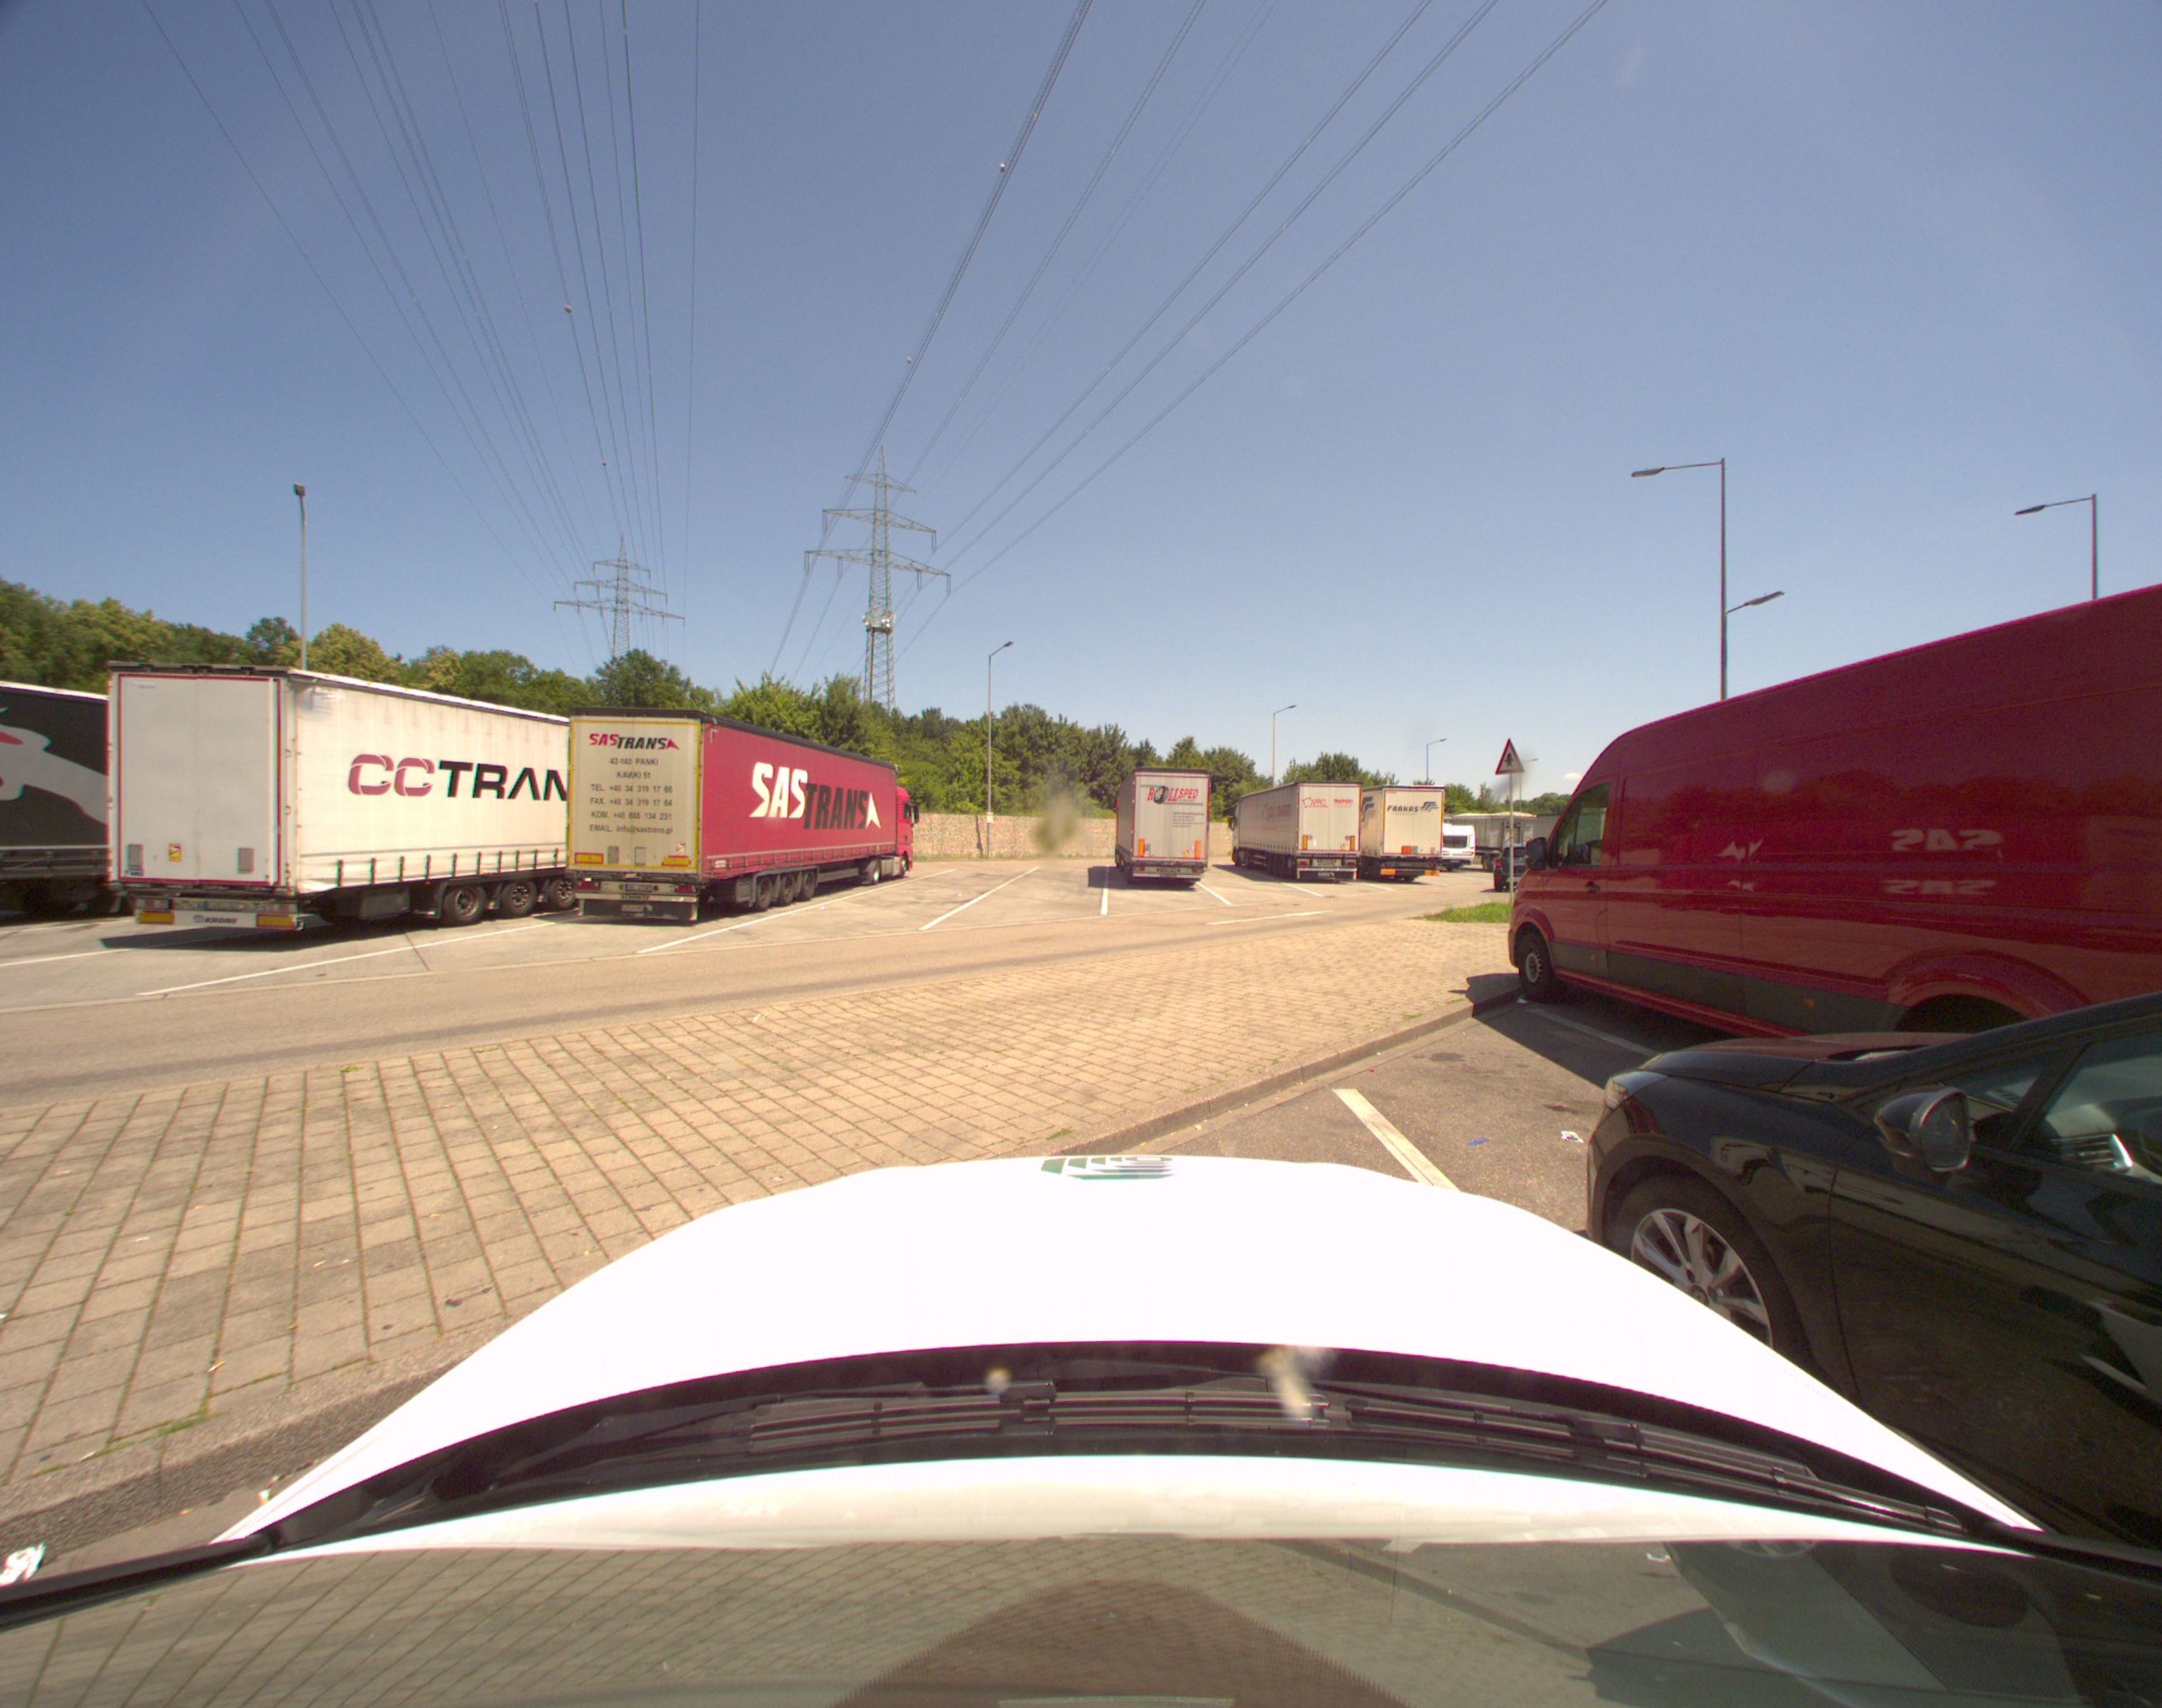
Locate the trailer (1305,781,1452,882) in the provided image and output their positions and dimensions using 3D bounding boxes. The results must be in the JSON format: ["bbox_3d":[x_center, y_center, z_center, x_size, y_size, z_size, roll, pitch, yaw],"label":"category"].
[{"bbox_3d":[13.646,-1.130,38.893,2.856,4.037,12.445,0,2,2],"label":"trailer"}]

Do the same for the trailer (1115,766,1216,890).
[{"bbox_3d":[3.051,-1.110,33.743,2.857,4.037,14.244,0,2,1],"label":"trailer"}]

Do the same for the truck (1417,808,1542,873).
[{"bbox_3d":[24.303,-0.966,50.518,2.478,3.568,11.429,0,2,2],"label":"truck"}]

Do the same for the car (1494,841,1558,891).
[{"bbox_3d":[15.467,0.366,28.343,1.824,1.561,3.974,0,1,29],"label":"car"}]

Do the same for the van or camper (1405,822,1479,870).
[{"bbox_3d":[20.594,-0.474,46.758,2.096,2.561,5.376,-1,1,3],"label":"van or camper"}]

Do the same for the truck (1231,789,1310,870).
[{"bbox_3d":[10.184,-1.375,44.549,2.856,4.037,6.960,0,2,2],"label":"truck"}]

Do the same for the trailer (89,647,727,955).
[{"bbox_3d":[-12.155,-0.979,17.800,2.803,4.266,12.947,0,2,2],"label":"trailer"}]

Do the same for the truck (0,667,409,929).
[{"bbox_3d":[-18.609,-1.025,16.280,2.803,4.190,8.793,0,2,2],"label":"truck"}]

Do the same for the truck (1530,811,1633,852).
[{"bbox_3d":[38.035,-1.656,62.398,2.117,2.820,9.783,-1,1,2],"label":"truck"}]

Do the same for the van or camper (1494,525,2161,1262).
[{"bbox_3d":[5.149,0.097,5.507,1.986,2.654,6.490,-1,1,6],"label":"van or camper"}]

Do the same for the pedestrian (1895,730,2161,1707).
[{"bbox_3d":[1.403,0.667,0.760,0.645,1.586,0.654,-1,1,-4],"label":"pedestrian"}]

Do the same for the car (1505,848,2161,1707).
[{"bbox_3d":[2.466,0.753,1.155,1.612,1.483,3.762,-1,1,-4],"label":"car"}]

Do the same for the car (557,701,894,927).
[{"bbox_3d":[-8.041,-0.938,21.445,2.686,4.112,12.943,1,2,2],"label":"car"}]

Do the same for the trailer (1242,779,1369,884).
[{"bbox_3d":[9.959,-1.110,37.917,2.856,4.037,12.445,0,2,2],"label":"trailer"}]

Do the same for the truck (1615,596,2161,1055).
[{"bbox_3d":[7.949,-0.214,7.080,2.455,2.792,6.978,0,1,4],"label":"truck"}]

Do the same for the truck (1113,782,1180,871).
[{"bbox_3d":[3.143,-1.400,40.831,2.857,4.037,7.029,0,2,1],"label":"truck"}]

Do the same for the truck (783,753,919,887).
[{"bbox_3d":[-7.743,-1.158,28.361,2.686,4.112,6.243,1,2,2],"label":"truck"}]
